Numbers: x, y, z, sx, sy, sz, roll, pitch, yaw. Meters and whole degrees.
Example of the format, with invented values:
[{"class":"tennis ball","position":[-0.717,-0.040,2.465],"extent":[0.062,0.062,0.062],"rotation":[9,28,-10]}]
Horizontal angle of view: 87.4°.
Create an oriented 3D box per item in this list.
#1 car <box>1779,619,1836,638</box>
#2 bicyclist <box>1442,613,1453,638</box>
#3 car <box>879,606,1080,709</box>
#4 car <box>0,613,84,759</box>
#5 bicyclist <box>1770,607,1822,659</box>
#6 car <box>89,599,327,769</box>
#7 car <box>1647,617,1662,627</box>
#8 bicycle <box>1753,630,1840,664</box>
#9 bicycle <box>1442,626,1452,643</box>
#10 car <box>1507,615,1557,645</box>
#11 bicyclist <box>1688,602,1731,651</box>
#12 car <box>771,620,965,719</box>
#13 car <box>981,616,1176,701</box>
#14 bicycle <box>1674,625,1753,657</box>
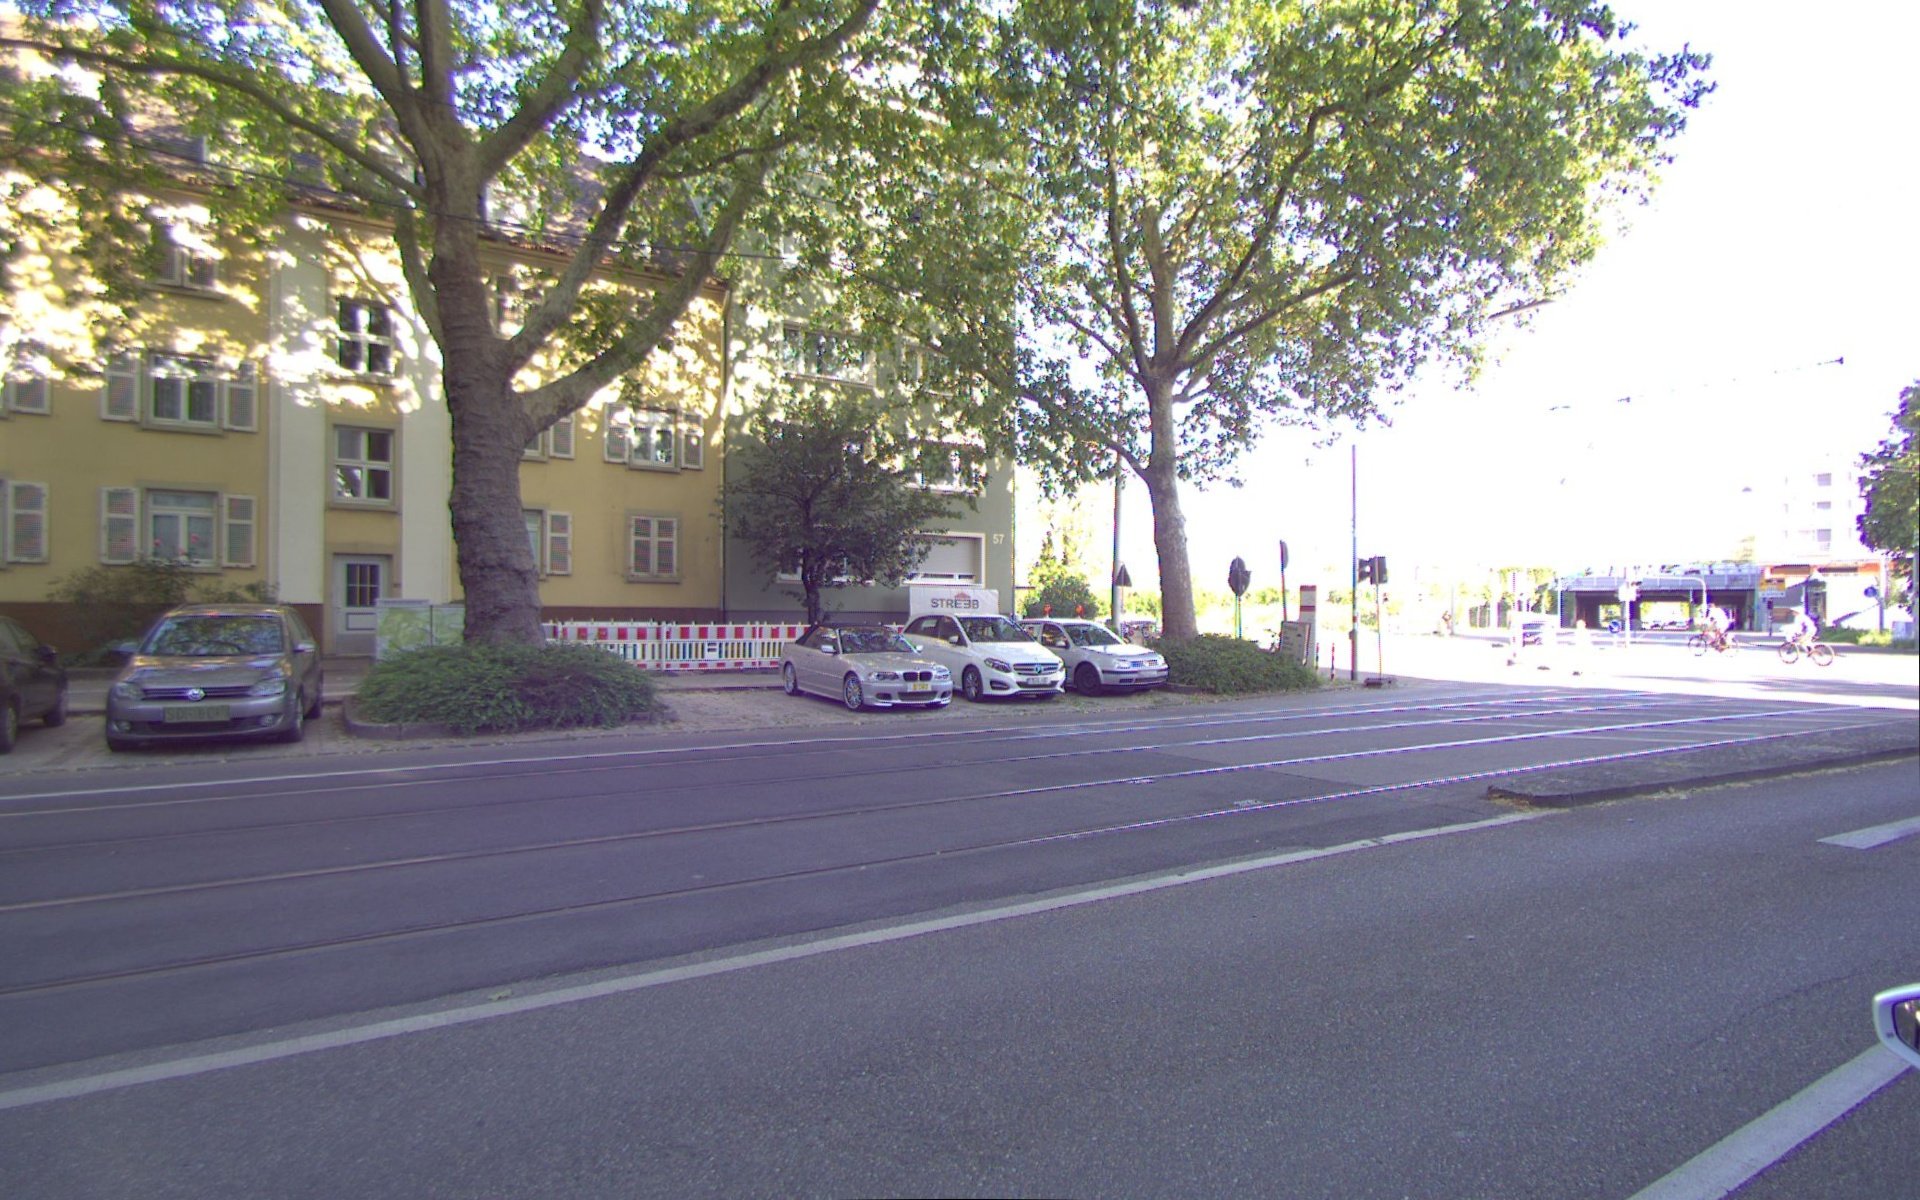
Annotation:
[{"class":"car","position":[81.074,2.723,96.203],"extent":[4.125,1.829,1.729],"rotation":[-1,-1,40]},{"class":"bicyclist","position":[31.416,1.643,64.747],"extent":[0.625,1.584,0.832],"rotation":[0,-1,28]},{"class":"car","position":[0.222,0.997,19.477],"extent":[1.777,1.640,4.587],"rotation":[1,1,-30]},{"class":"car","position":[-11.392,0.886,11.295],"extent":[1.723,1.448,3.545],"rotation":[1,0,-31]},{"class":"bicyclist","position":[26.244,1.023,31.534],"extent":[0.786,1.591,1.009],"rotation":[0,-1,-18]},{"class":"car","position":[-9.035,0.864,12.423],"extent":[1.793,1.627,4.169],"rotation":[1,1,-29]},{"class":"car","position":[126.514,3.989,182.964],"extent":[2.183,1.847,4.134],"rotation":[0,-1,34]},{"class":"bicycle","position":[26.236,1.448,31.550],"extent":[0.662,0.997,2.057],"rotation":[1,-1,-18]},{"class":"bicycle","position":[31.392,2.212,64.729],"extent":[0.572,1.075,2.039],"rotation":[0,-1,27]},{"class":"car","position":[32.430,1.682,56.940],"extent":[1.803,1.539,3.876],"rotation":[2,1,40]},{"class":"bicyclist","position":[27.120,0.946,36.351],"extent":[0.861,1.730,0.926],"rotation":[0,-1,-18]},{"class":"car","position":[-1.728,1.098,17.433],"extent":[1.708,1.386,4.219],"rotation":[1,0,-31]},{"class":"car","position":[2.301,1.112,20.822],"extent":[1.656,1.448,4.490],"rotation":[1,0,-30]},{"class":"bicycle","position":[27.148,1.443,36.243],"extent":[0.788,1.098,2.292],"rotation":[0,-1,-17]}]
